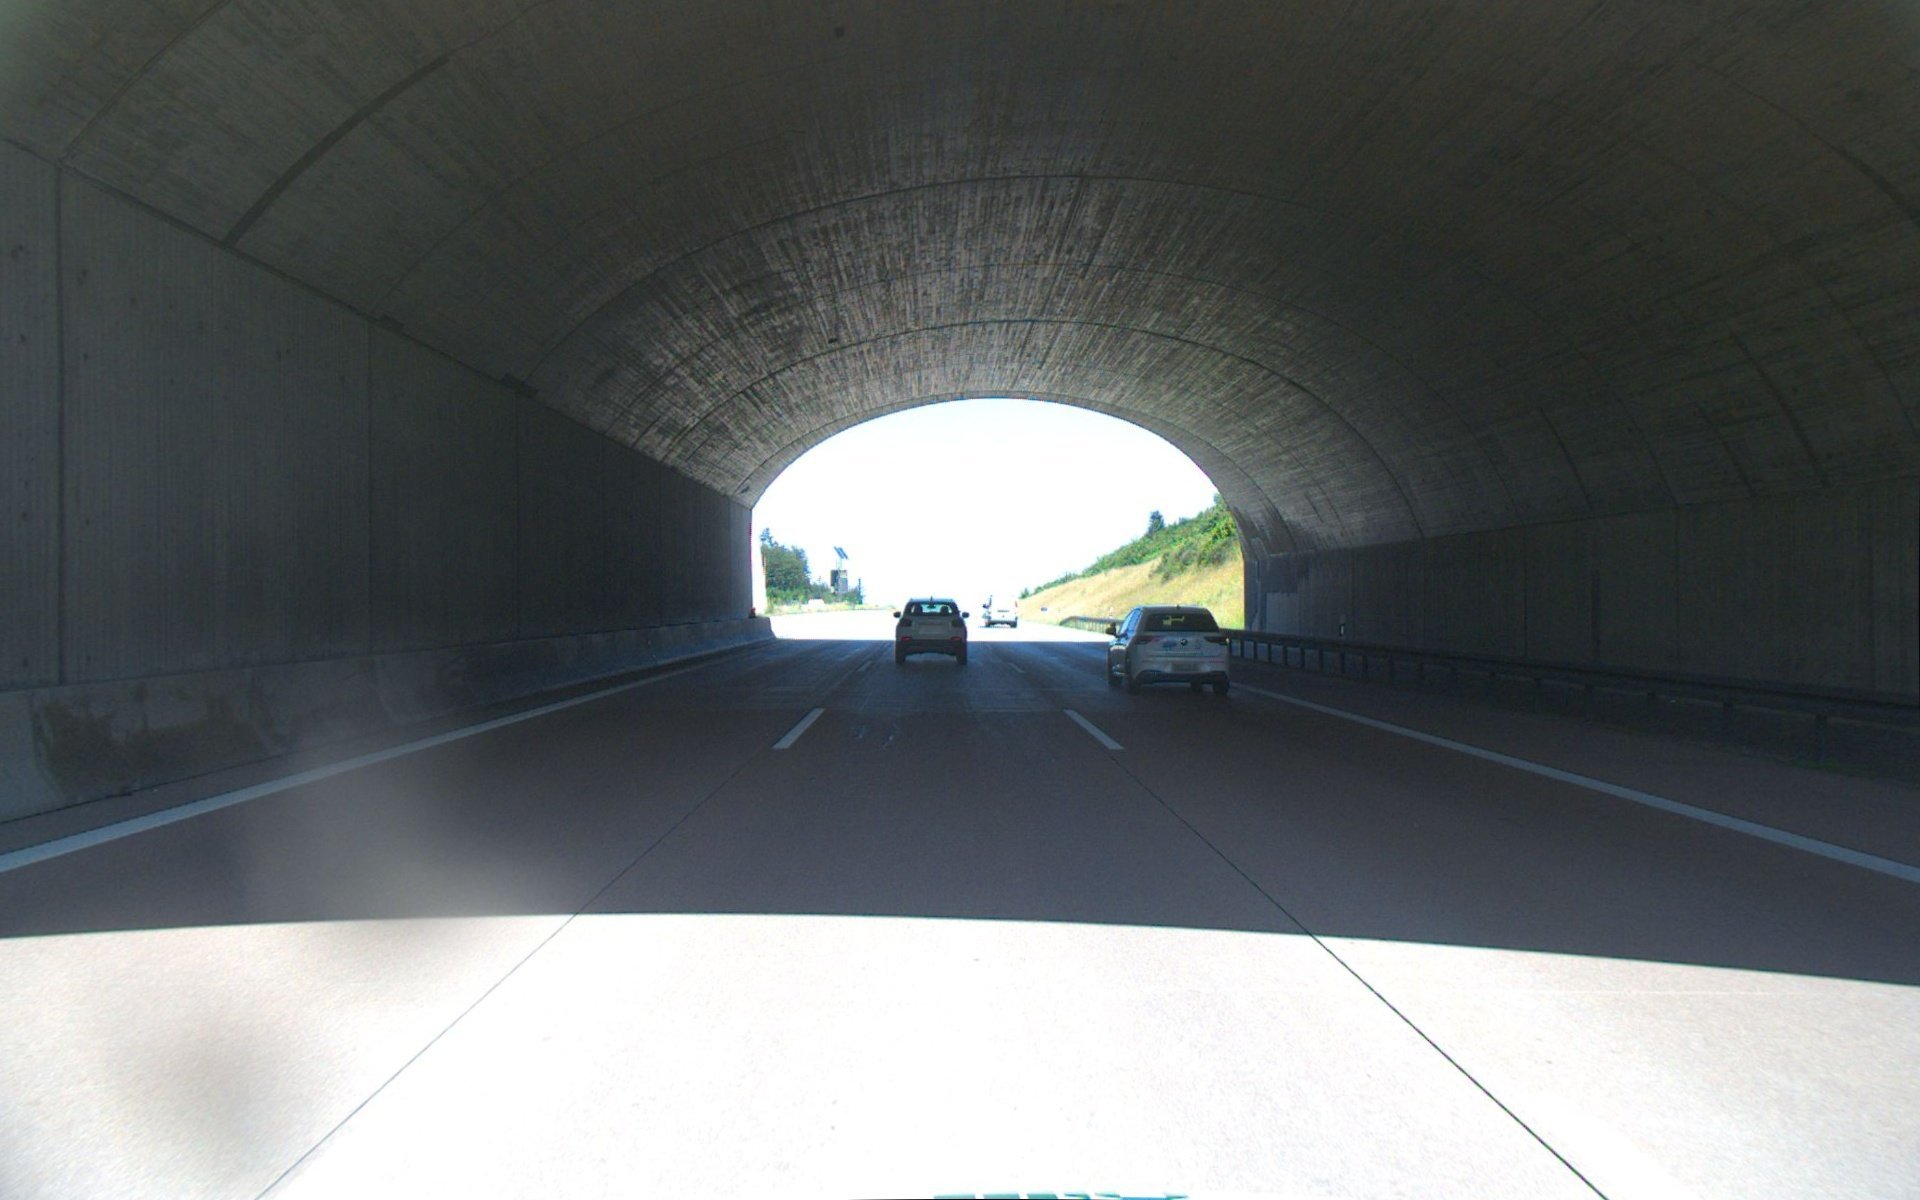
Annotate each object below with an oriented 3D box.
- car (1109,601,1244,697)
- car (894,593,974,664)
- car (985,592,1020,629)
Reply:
[{"bbox_3d":[3.691,0.789,28.783,1.852,1.422,4.001,1,1,1],"label":"car"},{"bbox_3d":[-0.650,0.672,40.982,1.841,1.635,4.833,1,0,-1],"label":"car"},{"bbox_3d":[2.584,0.618,101.026,2.067,2.089,4.001,1,2,1],"label":"car"}]
